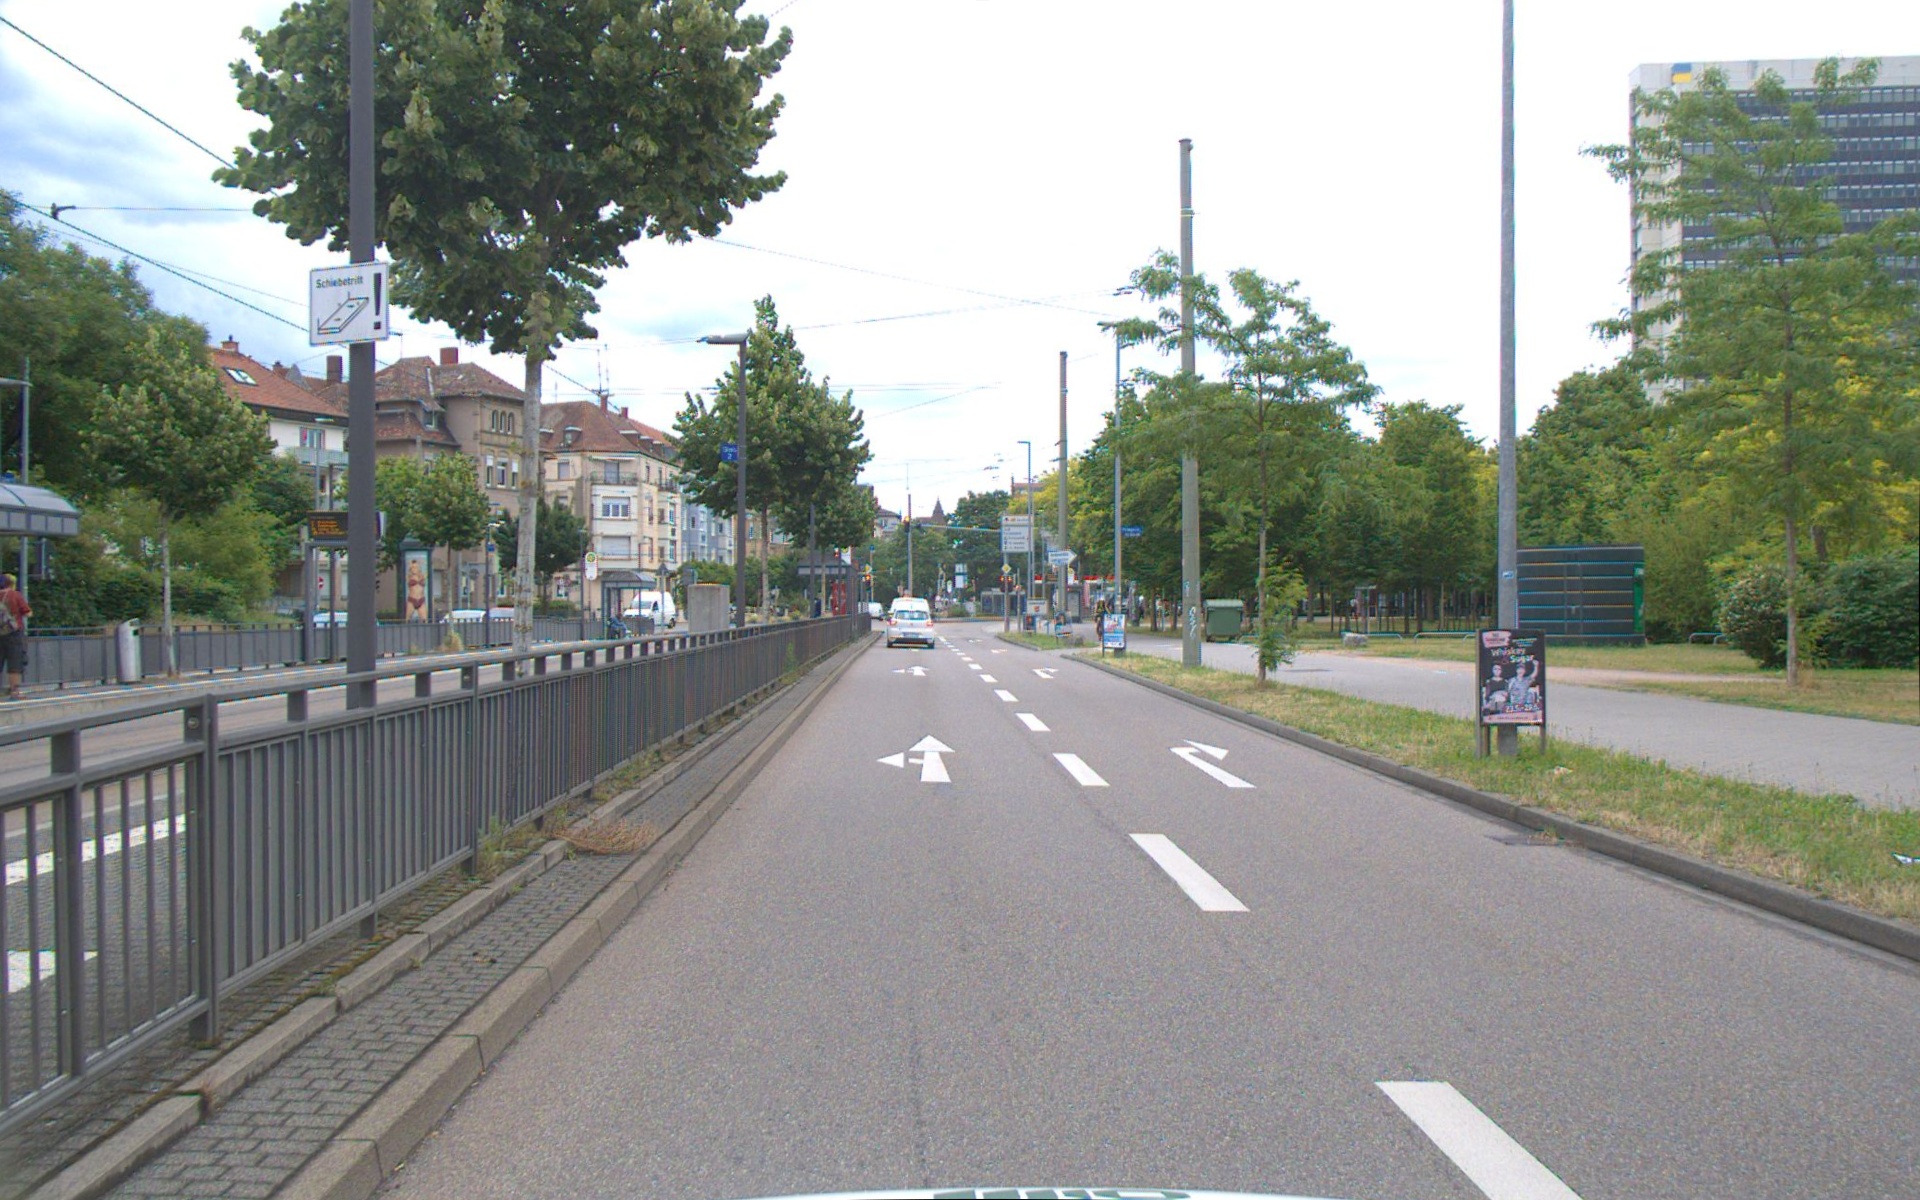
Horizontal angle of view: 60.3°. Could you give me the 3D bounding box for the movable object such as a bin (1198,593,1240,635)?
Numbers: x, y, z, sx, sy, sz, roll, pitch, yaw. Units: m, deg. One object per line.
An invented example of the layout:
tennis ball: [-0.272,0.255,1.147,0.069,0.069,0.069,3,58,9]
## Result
movable object such as a bin: [8.872,0.464,56.677,1.256,1.414,1.159,0,-1,-1]

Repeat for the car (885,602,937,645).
car: [-1.735,0.818,59.392,1.746,1.498,4.010,0,0,0]

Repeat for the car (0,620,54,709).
car: [-17.226,1.105,27.977,1.734,1.519,3.885,0,-1,-2]

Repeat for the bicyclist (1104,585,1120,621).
bicyclist: [6.772,0.135,73.704,0.665,1.564,0.673,-1,0,3]

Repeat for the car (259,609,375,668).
car: [-17.435,1.011,45.044,1.734,1.519,3.885,0,-1,-2]

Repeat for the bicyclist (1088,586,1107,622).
bicyclist: [5.328,0.156,64.015,0.664,1.404,0.728,-1,0,6]

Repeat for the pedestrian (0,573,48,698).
pedestrian: [-13.194,0.484,22.747,0.753,1.689,1.024,-1,0,-5]

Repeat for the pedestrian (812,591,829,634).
pedestrian: [-4.898,0.447,58.237,0.565,1.507,0.617,-1,0,-4]

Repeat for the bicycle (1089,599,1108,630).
bicycle: [5.347,0.543,64.010,0.664,1.175,1.899,-1,0,6]

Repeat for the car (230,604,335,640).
car: [-29.430,0.959,71.908,3.796,1.519,1.775,0,-1,-2]

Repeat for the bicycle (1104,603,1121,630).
bicycle: [6.786,0.718,73.719,0.665,1.175,1.899,-1,0,4]

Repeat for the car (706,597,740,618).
car: [-17.872,0.553,124.984,1.733,1.519,3.889,-1,-1,4]

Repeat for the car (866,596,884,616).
car: [-8.483,0.613,165.650,1.734,1.907,3.885,0,-1,-2]

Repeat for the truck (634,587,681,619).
truck: [-20.032,0.193,109.742,1.750,2.068,5.398,-1,-1,4]

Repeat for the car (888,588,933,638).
car: [-2.052,0.509,68.012,1.747,1.997,4.380,0,0,-2]

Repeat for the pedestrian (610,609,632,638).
pedestrian: [-15.148,1.035,73.838,0.848,1.289,0.693,-1,0,-4]
